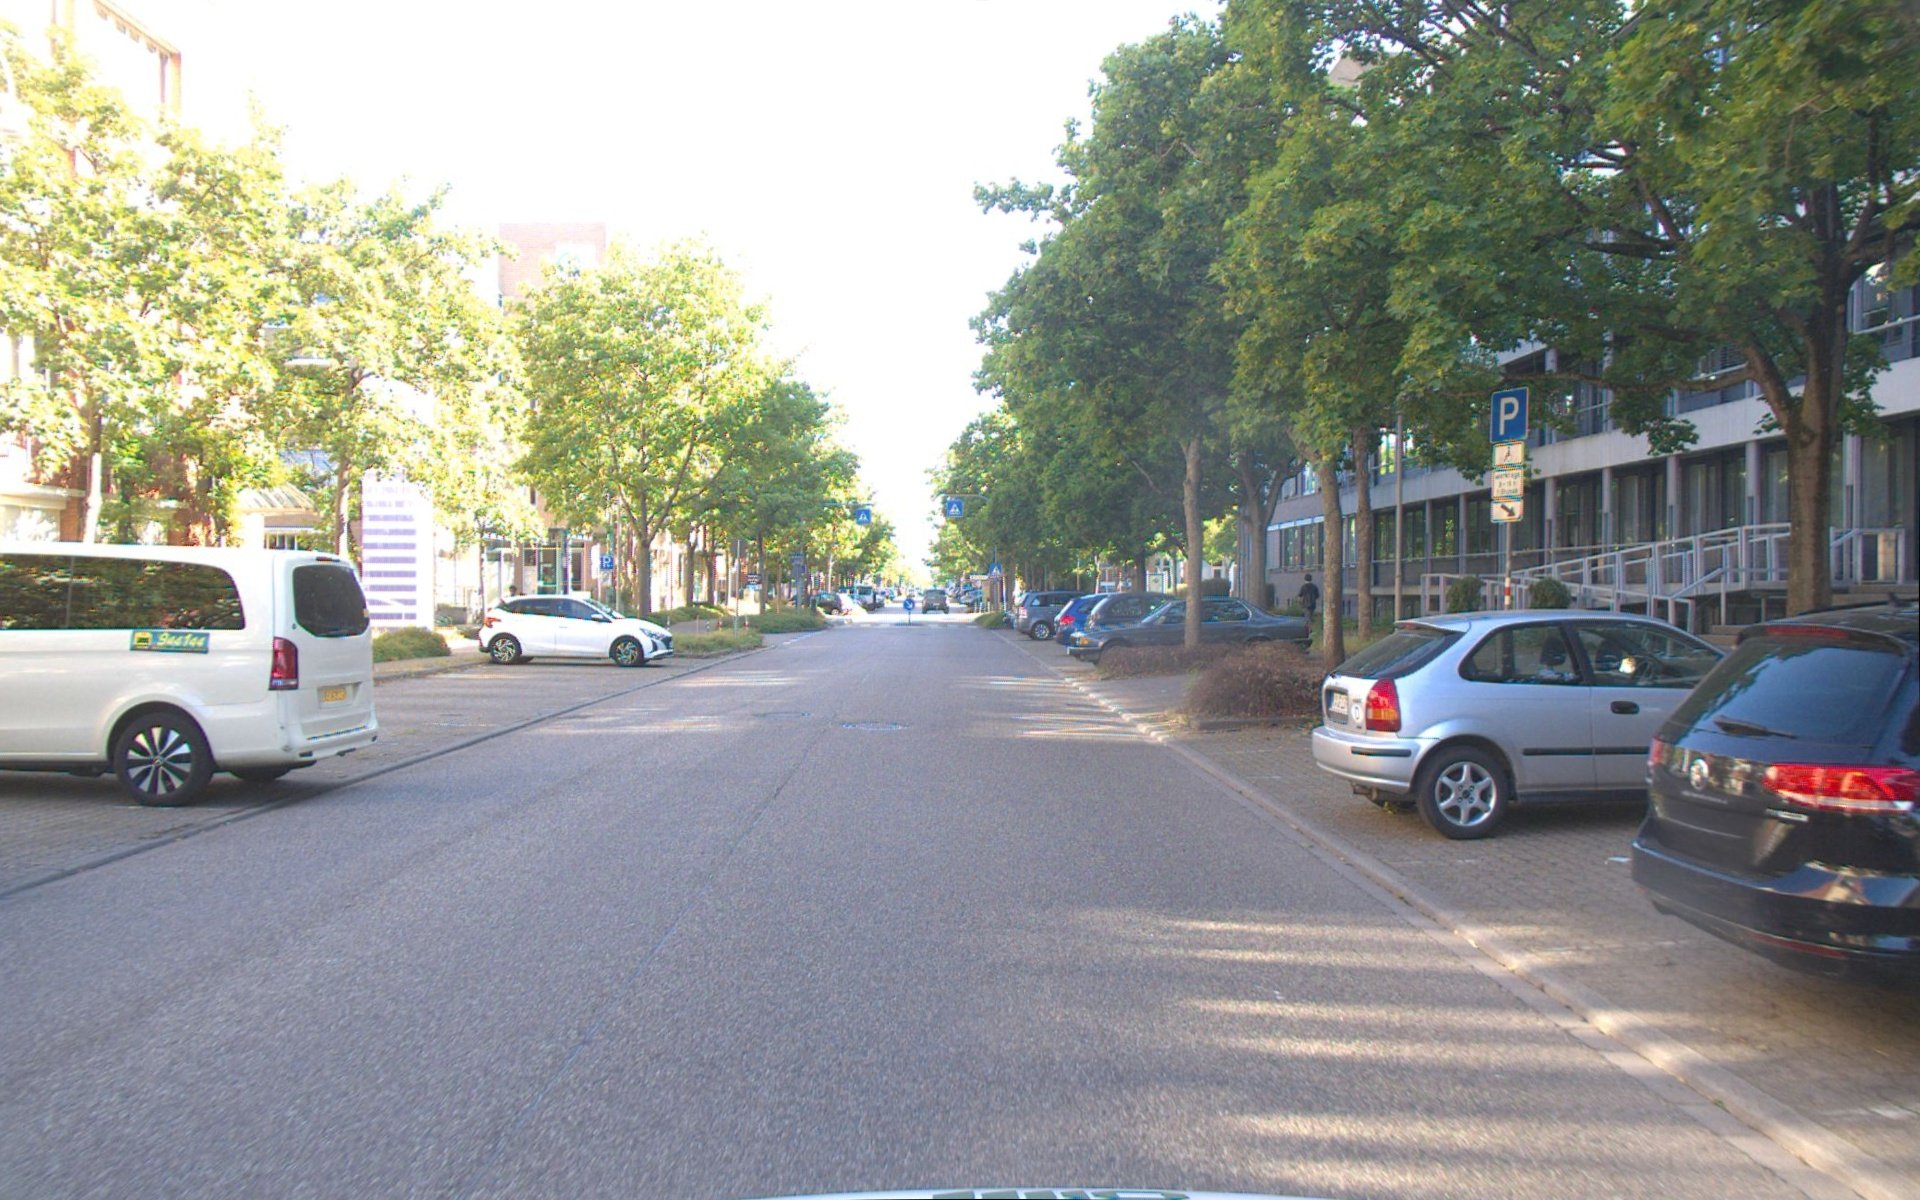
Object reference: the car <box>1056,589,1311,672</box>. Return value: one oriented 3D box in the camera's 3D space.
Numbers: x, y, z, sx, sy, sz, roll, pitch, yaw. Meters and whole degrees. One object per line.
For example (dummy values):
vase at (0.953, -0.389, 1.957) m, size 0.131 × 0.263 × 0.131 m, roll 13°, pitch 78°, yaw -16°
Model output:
car at (4.390, 0.588, 33.027) m, size 4.729 × 1.444 × 2.031 m, roll -2°, pitch 0°, yaw -3°

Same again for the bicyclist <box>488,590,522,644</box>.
bicyclist at (-11.713, 0.430, 42.594) m, size 0.593 × 1.377 × 0.913 m, roll 0°, pitch 0°, yaw 3°

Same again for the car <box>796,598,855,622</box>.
car at (-8.935, 0.687, 110.034) m, size 3.777 × 1.499 × 1.809 m, roll 1°, pitch 0°, yaw -9°

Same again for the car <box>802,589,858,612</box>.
car at (-9.068, 0.048, 114.875) m, size 3.775 × 1.499 × 1.810 m, roll 1°, pitch 0°, yaw -7°

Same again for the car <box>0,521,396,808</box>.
car at (-7.285, 0.421, 12.743) m, size 5.151 × 2.001 × 1.942 m, roll 1°, pitch 0°, yaw -1°

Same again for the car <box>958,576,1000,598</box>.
car at (1.792, -1.205, 159.066) m, size 3.907 × 2.049 × 1.999 m, roll -1°, pitch 0°, yaw -3°

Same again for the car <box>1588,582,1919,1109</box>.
car at (4.835, 0.644, 5.870) m, size 4.498 × 1.519 × 1.762 m, roll -3°, pitch 0°, yaw -1°

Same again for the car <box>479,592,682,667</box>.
car at (-8.020, 0.605, 35.180) m, size 3.907 × 1.512 × 1.806 m, roll 1°, pitch 0°, yaw -2°

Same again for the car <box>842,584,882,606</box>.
car at (-9.687, -0.498, 164.416) m, size 3.907 × 2.049 × 1.999 m, roll -1°, pitch 0°, yaw -3°

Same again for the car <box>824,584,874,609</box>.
car at (-9.181, -0.303, 137.044) m, size 3.903 × 2.049 × 2.001 m, roll -1°, pitch 0°, yaw 3°

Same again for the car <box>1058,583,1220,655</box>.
car at (4.183, 0.432, 38.967) m, size 3.567 × 1.541 × 1.812 m, roll -2°, pitch 0°, yaw -1°

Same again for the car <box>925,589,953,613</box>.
car at (-1.572, 0.067, 122.861) m, size 1.953 × 1.668 × 3.999 m, roll 1°, pitch 0°, yaw -1°

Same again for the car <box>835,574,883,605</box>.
car at (-8.867, -0.921, 145.460) m, size 3.903 × 2.586 × 1.863 m, roll 1°, pitch 0°, yaw 3°

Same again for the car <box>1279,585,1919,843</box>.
car at (4.277, 0.690, 11.040) m, size 3.890 × 1.444 × 1.709 m, roll -2°, pitch 0°, yaw -3°

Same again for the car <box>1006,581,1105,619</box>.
car at (4.180, -0.001, 72.601) m, size 4.108 × 1.499 × 1.811 m, roll -2°, pitch 0°, yaw -4°

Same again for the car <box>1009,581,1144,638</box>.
car at (3.892, 0.317, 55.637) m, size 4.265 × 1.733 × 1.811 m, roll -2°, pitch 0°, yaw -4°

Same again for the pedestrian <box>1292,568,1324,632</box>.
pedestrian at (9.732, -0.007, 46.290) m, size 0.595 × 1.776 × 1.191 m, roll -1°, pitch 0°, yaw -1°

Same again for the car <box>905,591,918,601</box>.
car at (-7.514, -0.670, 255.917) m, size 1.776 × 1.551 × 4.000 m, roll -1°, pitch 0°, yaw 0°

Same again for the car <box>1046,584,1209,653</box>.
car at (4.159, 0.447, 41.508) m, size 3.868 × 1.541 × 1.813 m, roll -2°, pitch 0°, yaw 0°

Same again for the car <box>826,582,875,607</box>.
car at (-9.245, -0.459, 140.239) m, size 3.903 × 2.049 × 2.001 m, roll -1°, pitch 0°, yaw 3°
